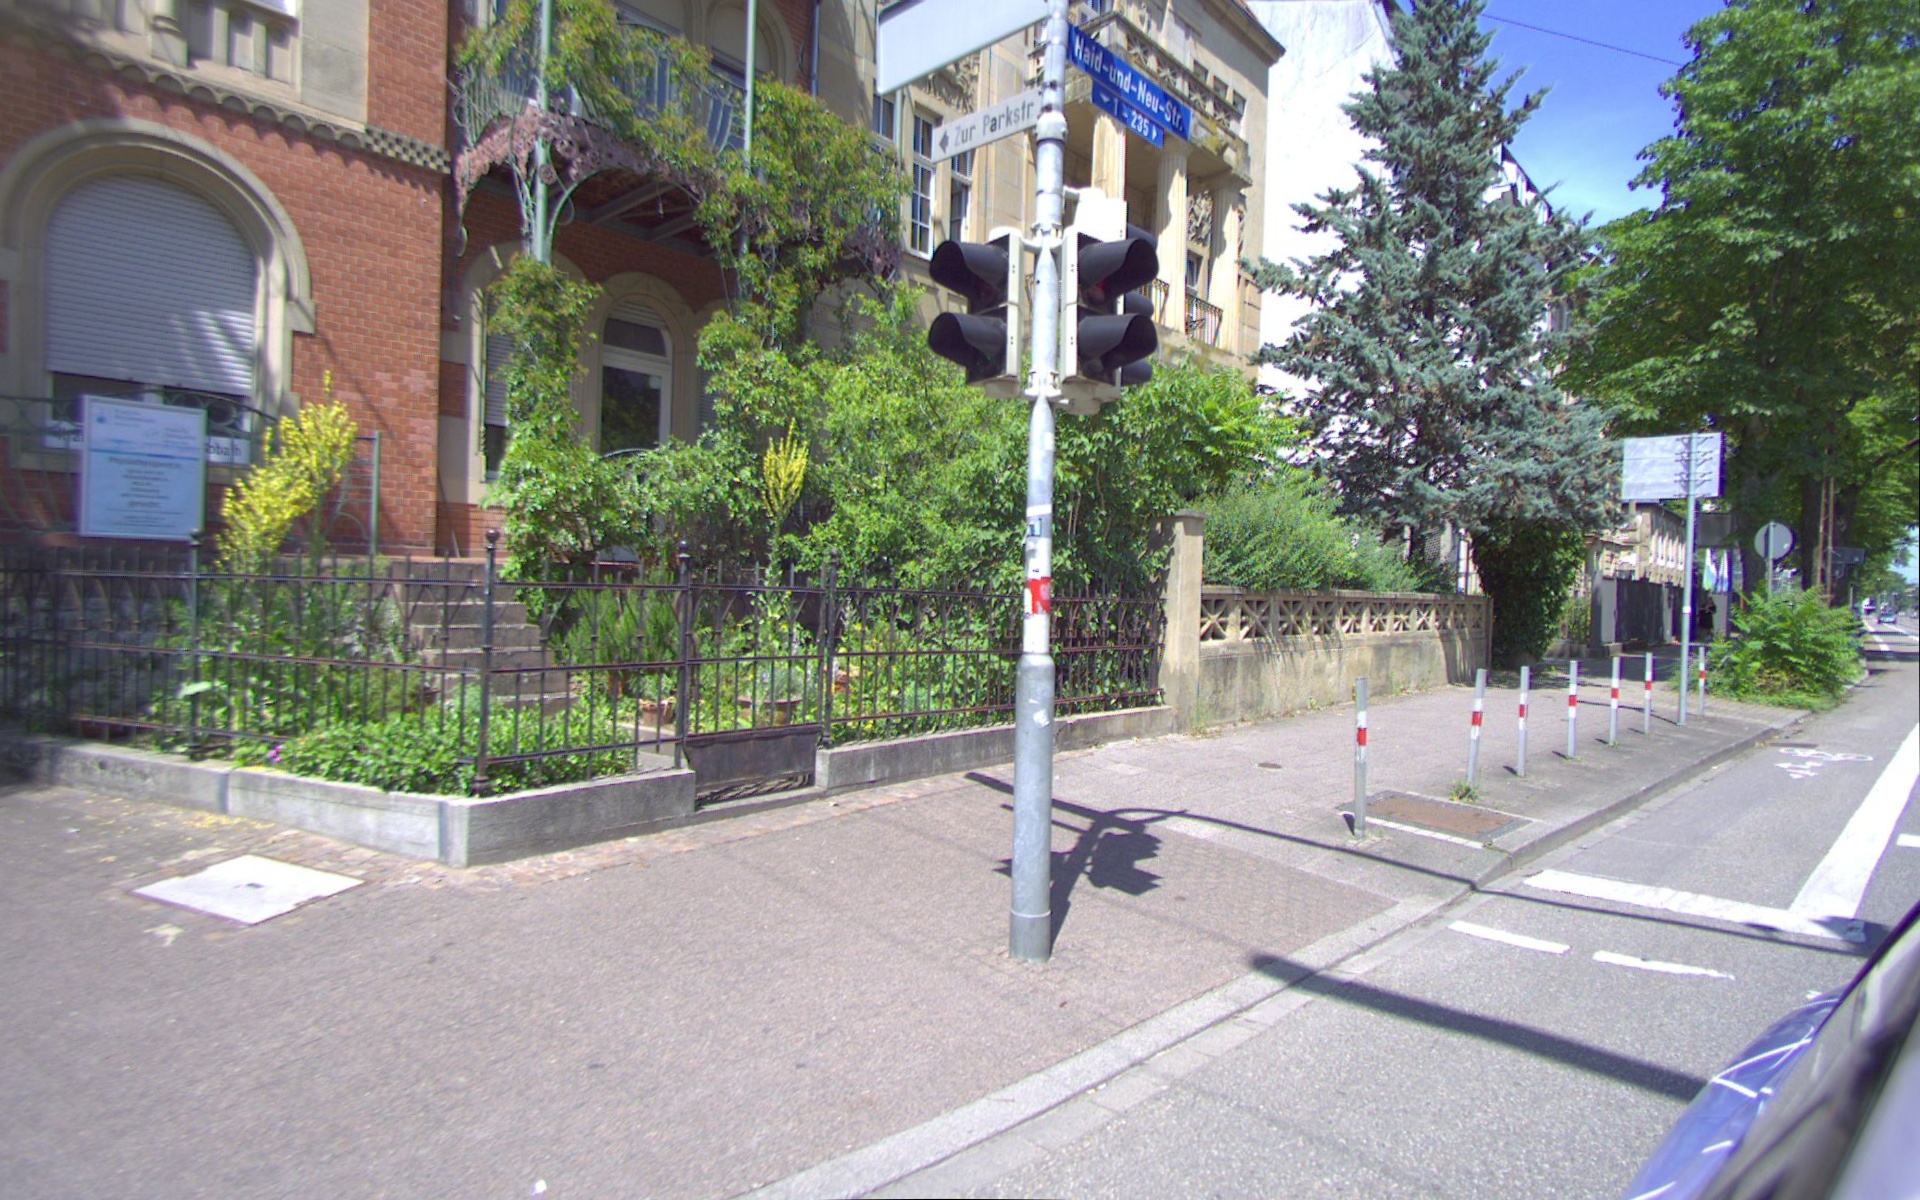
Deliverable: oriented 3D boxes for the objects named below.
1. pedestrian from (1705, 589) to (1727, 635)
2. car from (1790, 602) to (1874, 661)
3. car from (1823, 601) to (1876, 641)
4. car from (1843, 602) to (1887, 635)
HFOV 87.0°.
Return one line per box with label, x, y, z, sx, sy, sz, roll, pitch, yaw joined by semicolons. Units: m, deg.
pedestrian;28.675;0.450;38.401;0.546;1.714;0.744;3;2;42
car;25.490;0.861;29.545;1.684;1.479;3.938;4;3;42
car;38.678;0.892;44.056;1.610;1.515;3.530;4;3;41
car;49.863;1.036;55.805;1.642;1.616;4.053;4;1;41
